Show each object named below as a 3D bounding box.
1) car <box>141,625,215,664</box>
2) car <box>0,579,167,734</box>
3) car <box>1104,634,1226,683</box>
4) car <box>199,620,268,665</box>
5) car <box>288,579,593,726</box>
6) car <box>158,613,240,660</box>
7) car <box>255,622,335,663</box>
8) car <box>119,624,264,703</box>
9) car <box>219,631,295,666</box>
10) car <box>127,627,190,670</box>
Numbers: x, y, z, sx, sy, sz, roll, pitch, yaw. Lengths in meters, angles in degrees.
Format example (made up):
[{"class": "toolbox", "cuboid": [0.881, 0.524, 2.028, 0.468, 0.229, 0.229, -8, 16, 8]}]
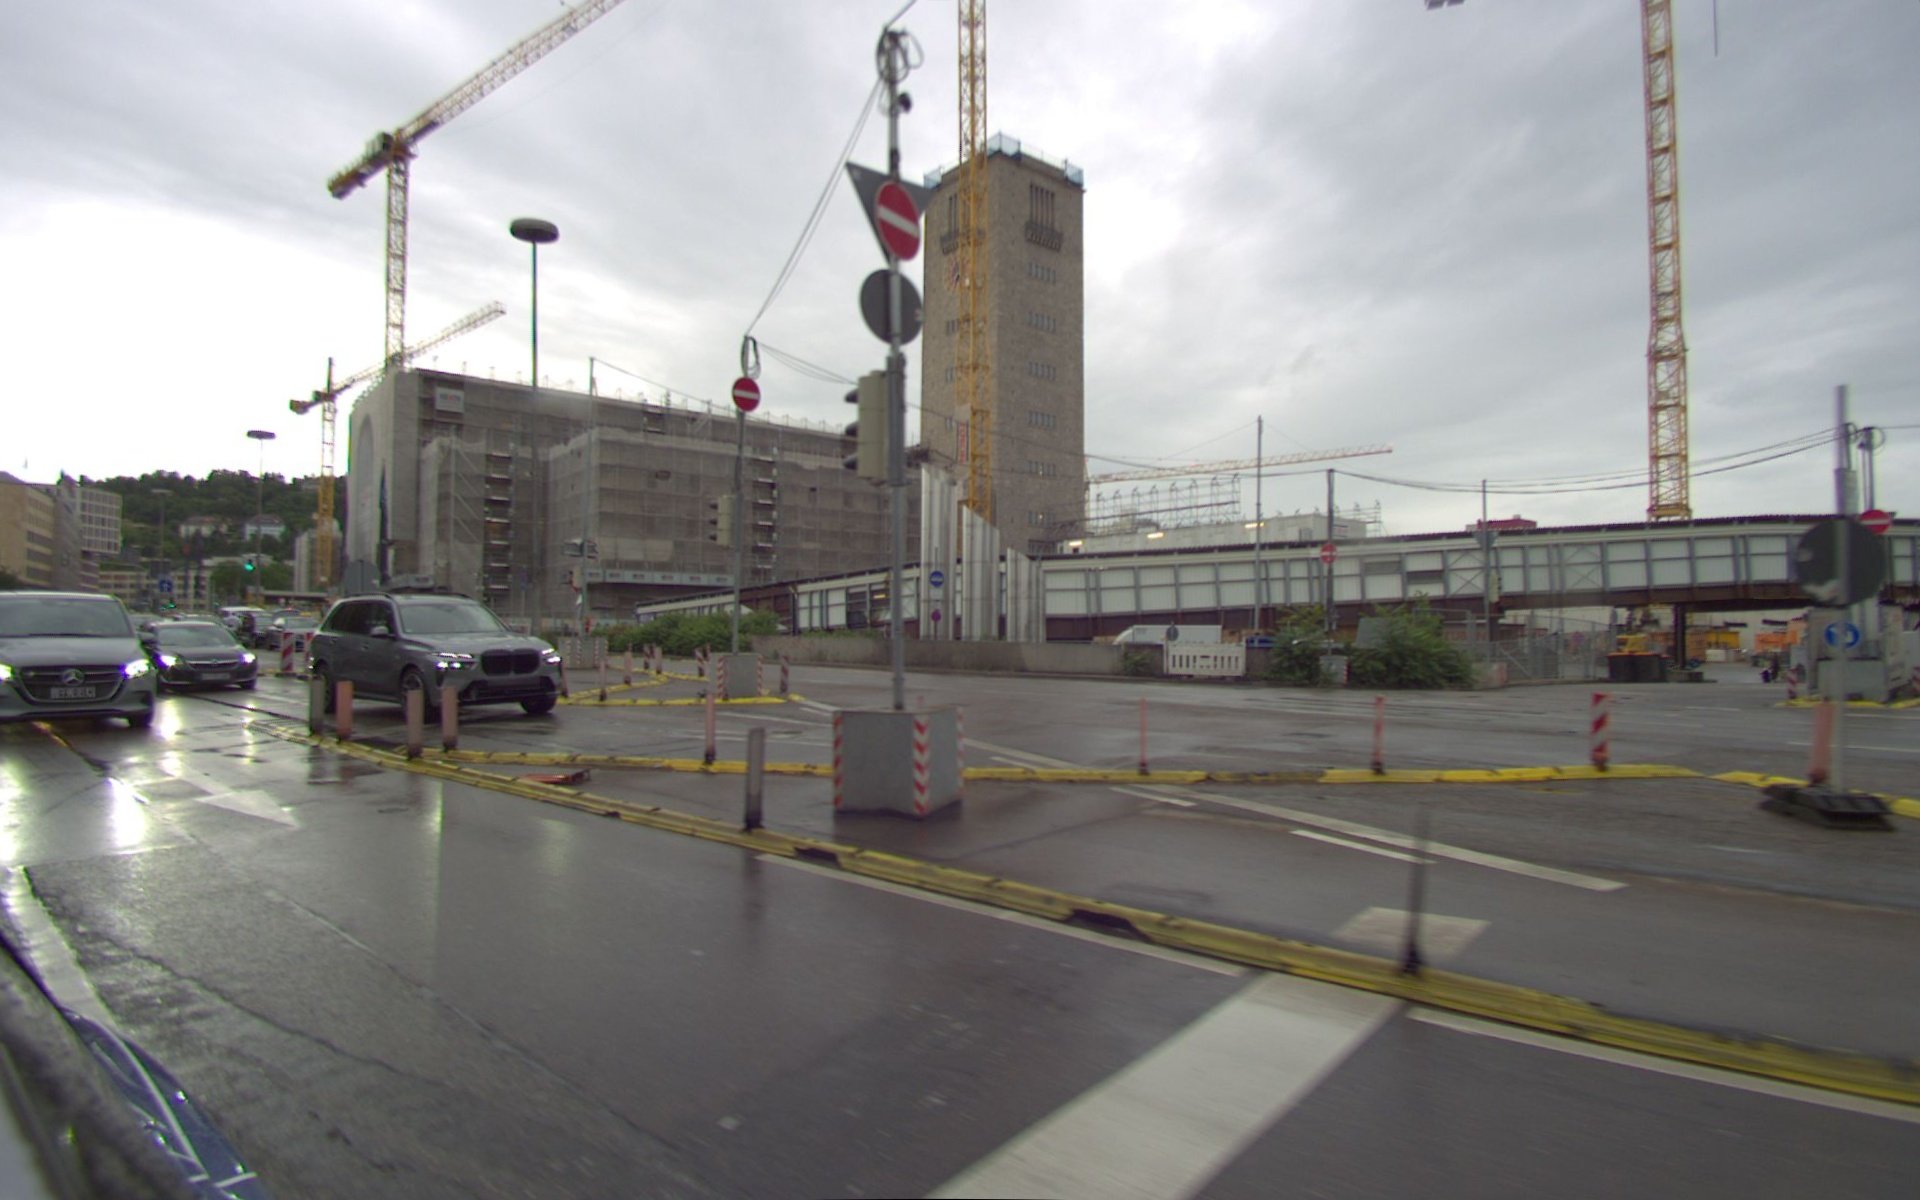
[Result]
[{"class": "car", "cuboid": [-35.451, 2.025, 45.816, 1.971, 1.667, 4.903, 4, -5, -45]}, {"class": "car", "cuboid": [-13.096, 0.775, 14.468, 5.357, 1.870, 1.972, -3, -3, 43]}, {"class": "car", "cuboid": [8.813, 2.509, 43.904, 4.965, 2.029, 1.996, 0, -3, 7]}, {"class": "car", "cuboid": [-37.907, 2.229, 52.756, 4.998, 2.224, 1.976, -2, -4, 44]}, {"class": "car", "cuboid": [-7.998, 0.733, 15.380, 5.066, 1.877, 2.188, -1, -2, 38]}, {"class": "car", "cuboid": [-31.565, 1.526, 41.929, 4.294, 1.828, 1.971, -2, -4, 44]}, {"class": "car", "cuboid": [-28.778, 1.824, 43.755, 4.574, 1.665, 1.807, -2, -4, 43]}, {"class": "car", "cuboid": [-17.049, 1.373, 22.353, 1.787, 1.475, 4.921, 9, -7, -44]}, {"class": "car", "cuboid": [-33.499, 2.313, 48.204, 4.000, 1.585, 2.143, -2, -4, 43]}, {"class": "car", "cuboid": [-41.650, 2.512, 52.536, 1.971, 2.130, 4.716, 4, -4, -45]}]
